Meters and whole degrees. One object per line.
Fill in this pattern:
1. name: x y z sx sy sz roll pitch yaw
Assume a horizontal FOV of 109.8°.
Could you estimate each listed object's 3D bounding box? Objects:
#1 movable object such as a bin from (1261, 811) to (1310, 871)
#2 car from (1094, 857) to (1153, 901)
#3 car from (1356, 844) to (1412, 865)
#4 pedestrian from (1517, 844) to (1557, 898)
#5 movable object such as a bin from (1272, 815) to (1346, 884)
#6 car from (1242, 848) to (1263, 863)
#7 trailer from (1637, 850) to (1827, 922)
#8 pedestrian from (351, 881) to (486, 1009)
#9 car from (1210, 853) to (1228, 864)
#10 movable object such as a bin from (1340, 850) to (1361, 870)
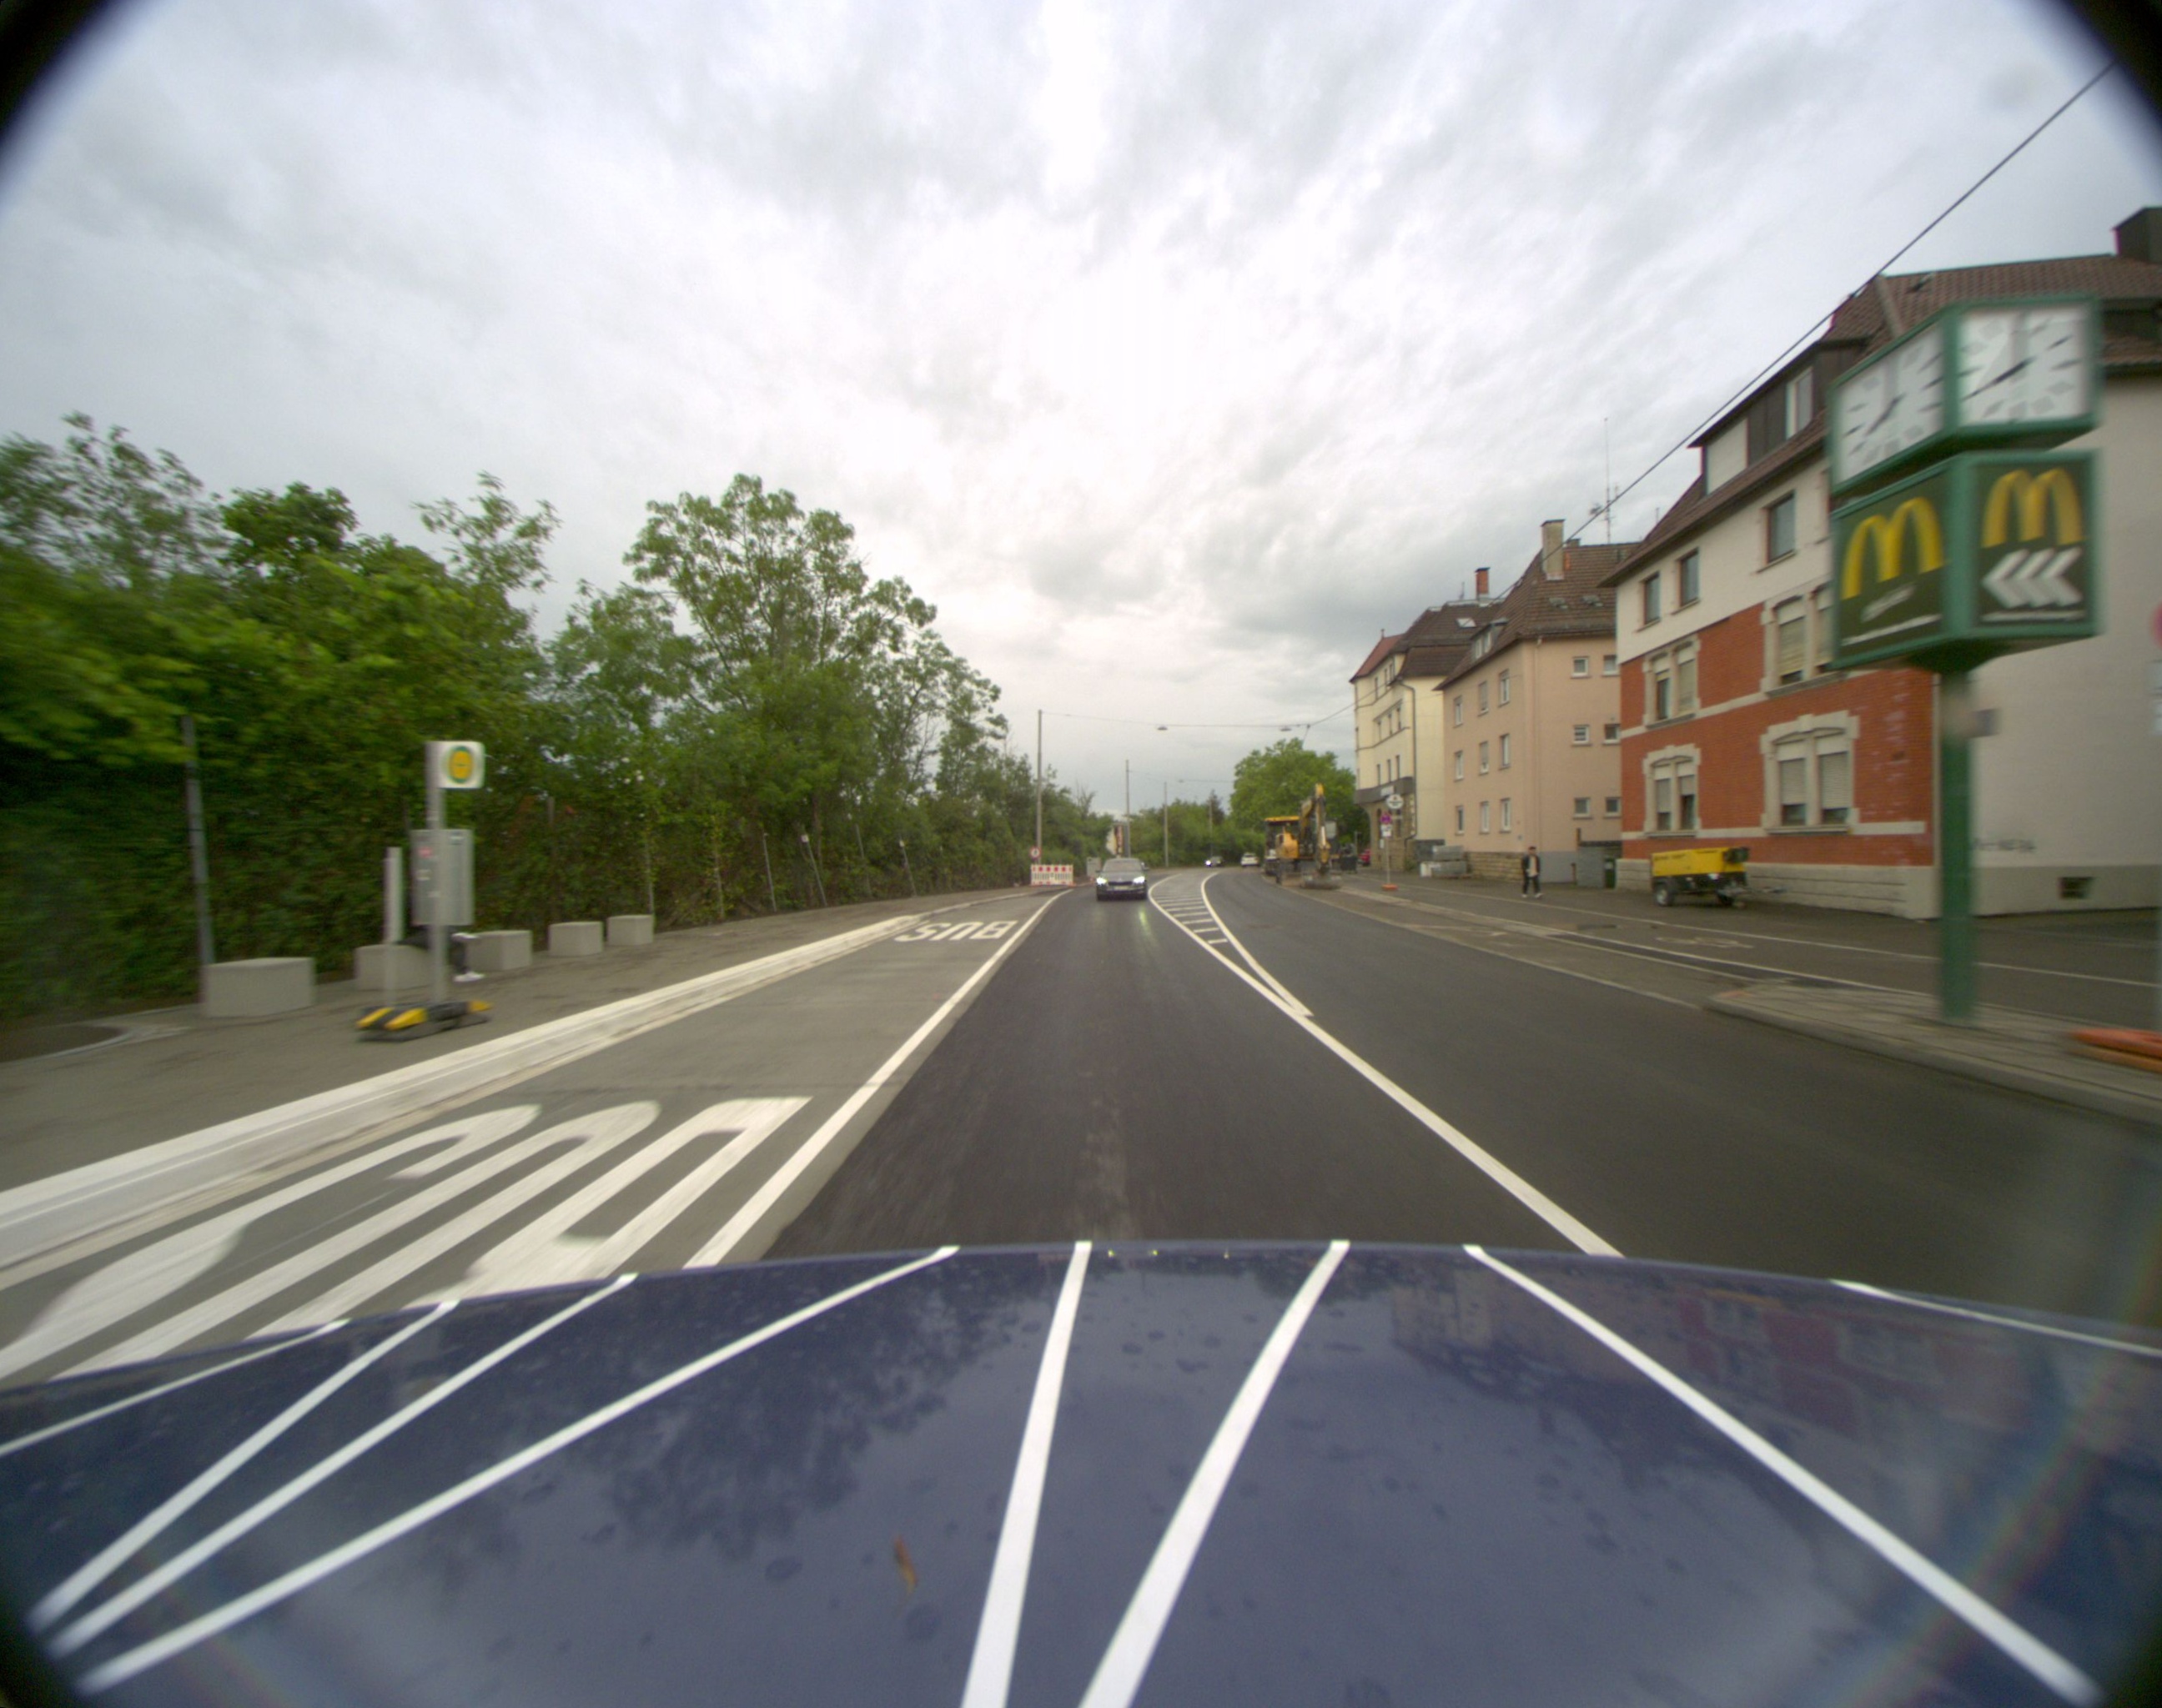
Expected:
1. movable object such as a bin: 14.192 -0.832 53.005 2.952 3.821 8.136 -1 0 14
2. car: 1.618 0.857 27.825 1.836 1.429 4.002 -2 0 7
3. car: 25.227 0.032 63.288 3.994 1.655 1.912 -1 1 9
4. pedestrian: 13.461 0.497 22.453 0.603 1.519 1.038 -3 0 7
5. movable object such as a bin: 11.062 -0.183 37.213 2.829 3.094 4.637 -1 0 9
6. car: 18.935 0.165 83.727 1.961 1.634 4.449 -1 0 16
7. trailer: 14.374 0.633 17.069 1.326 1.391 3.999 -2 0 9
8. pedestrian: -7.674 1.010 8.866 1.070 1.322 0.808 -2 1 -35
9. car: 17.499 0.534 96.280 1.604 1.295 3.718 -2 -1 19
10. movable object such as a bin: 17.724 0.379 50.012 1.159 1.295 1.248 -1 1 14
